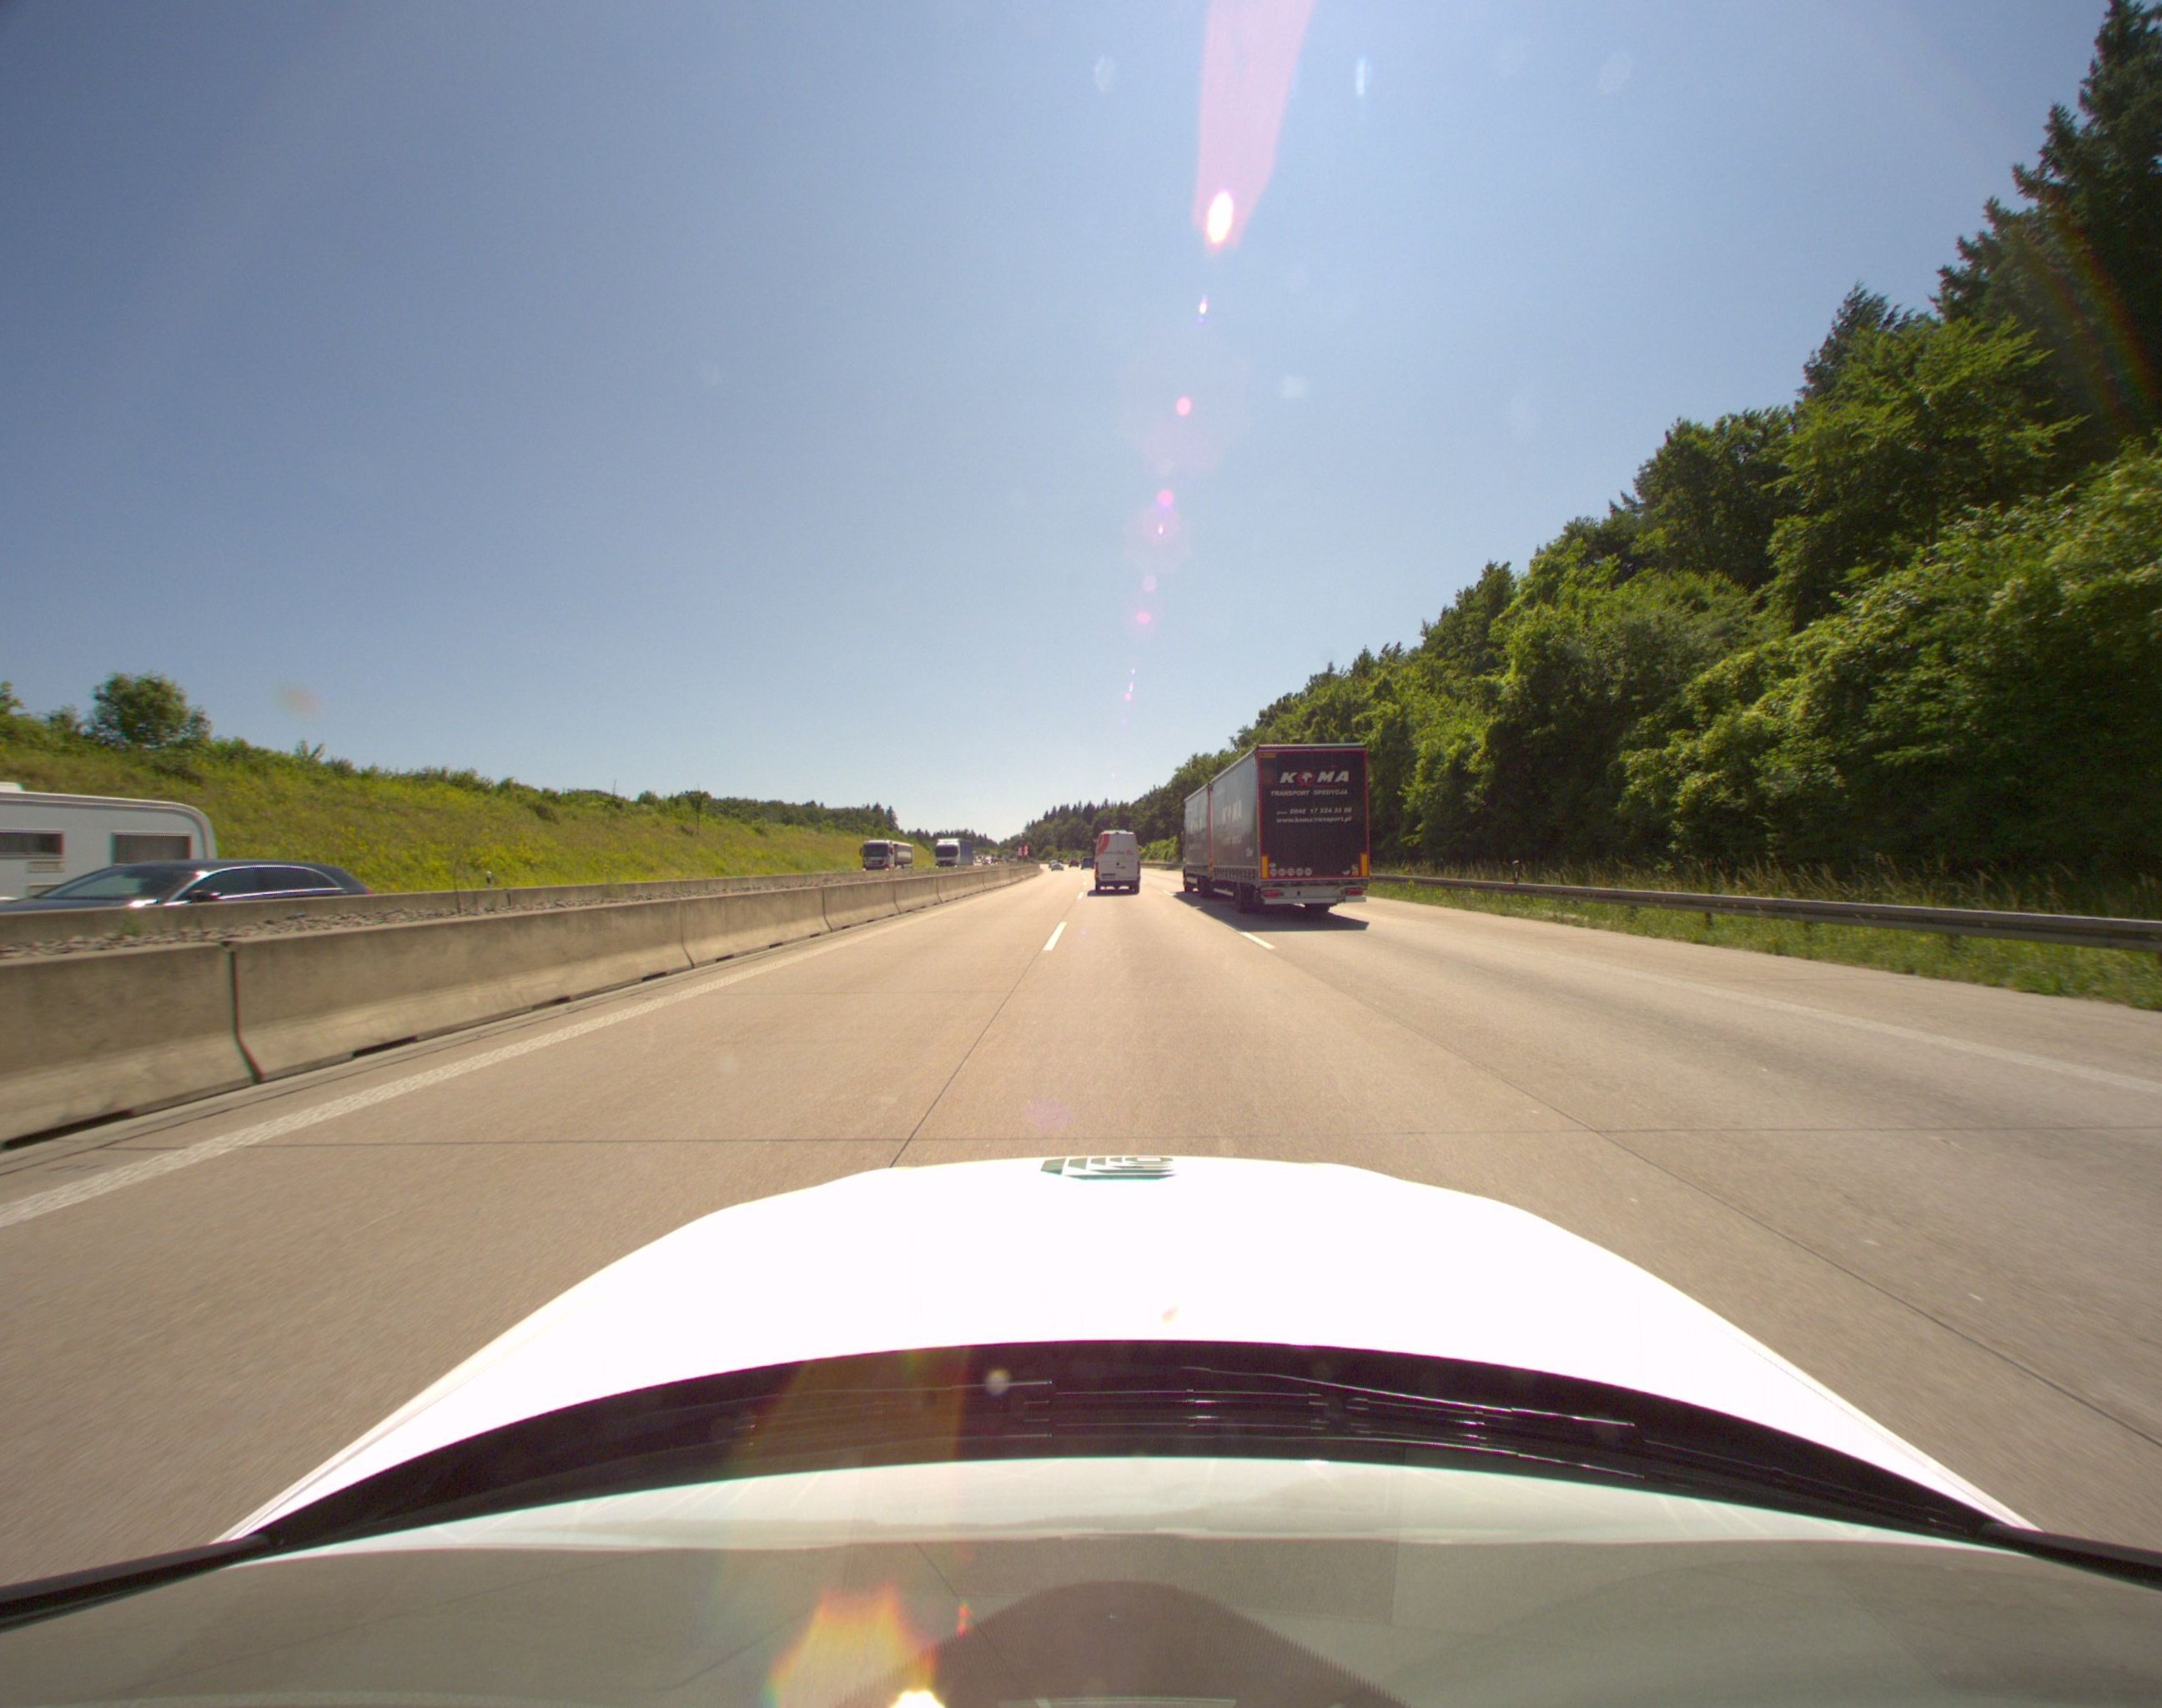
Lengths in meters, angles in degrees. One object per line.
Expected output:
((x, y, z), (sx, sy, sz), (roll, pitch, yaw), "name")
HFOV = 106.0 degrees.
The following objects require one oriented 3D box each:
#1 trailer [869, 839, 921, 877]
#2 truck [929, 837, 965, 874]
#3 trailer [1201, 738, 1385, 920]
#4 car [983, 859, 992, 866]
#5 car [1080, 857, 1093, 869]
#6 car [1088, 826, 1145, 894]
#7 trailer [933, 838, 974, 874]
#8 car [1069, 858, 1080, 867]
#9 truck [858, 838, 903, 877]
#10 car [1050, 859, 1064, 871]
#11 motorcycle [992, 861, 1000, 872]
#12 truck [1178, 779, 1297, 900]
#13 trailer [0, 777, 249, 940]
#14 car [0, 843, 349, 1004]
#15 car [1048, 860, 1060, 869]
((-18.059, 0.437, 79.606), (2.715, 3.413, 8.956), (1, -1, 1), "trailer")
((-14.708, 0.207, 89.738), (3.153, 3.932, 5.830), (1, -1, -3), "truck")
((5.384, -0.522, 22.695), (3.122, 4.017, 9.093), (-1, -1, 3), "trailer")
((-23.642, 2.075, 205.514), (1.990, 1.772, 3.993), (-1, -1, -5), "car")
((0.839, 1.390, 124.974), (1.988, 1.684, 3.998), (1, -1, -1), "car")
((1.520, 0.257, 37.062), (2.220, 2.844, 5.451), (-1, 0, -1), "car")
((-15.001, 0.318, 96.631), (3.153, 3.932, 13.852), (1, -1, -2), "trailer")
((-1.323, 1.716, 158.781), (1.988, 1.684, 3.997), (1, -1, -1), "car")
((-18.191, 0.320, 74.157), (2.715, 3.413, 4.513), (1, -1, 1), "truck")
((-3.513, 1.686, 119.992), (1.987, 1.684, 4.000), (1, -1, 1), "car")
((-12.906, 1.878, 123.790), (1.004, 1.549, 2.483), (-1, -1, 0), "motorcycle")
((5.859, -0.439, 32.538), (3.147, 4.017, 10.614), (-1, -1, 3), "truck")
((-18.768, 0.069, 13.085), (2.596, 2.631, 7.784), (0, 0, 2), "trailer")
((-11.152, 0.658, 9.233), (1.986, 1.519, 4.001), (0, 0, 2), "car")
((-5.347, 1.990, 159.518), (1.991, 1.684, 3.991), (1, -1, -6), "car")
